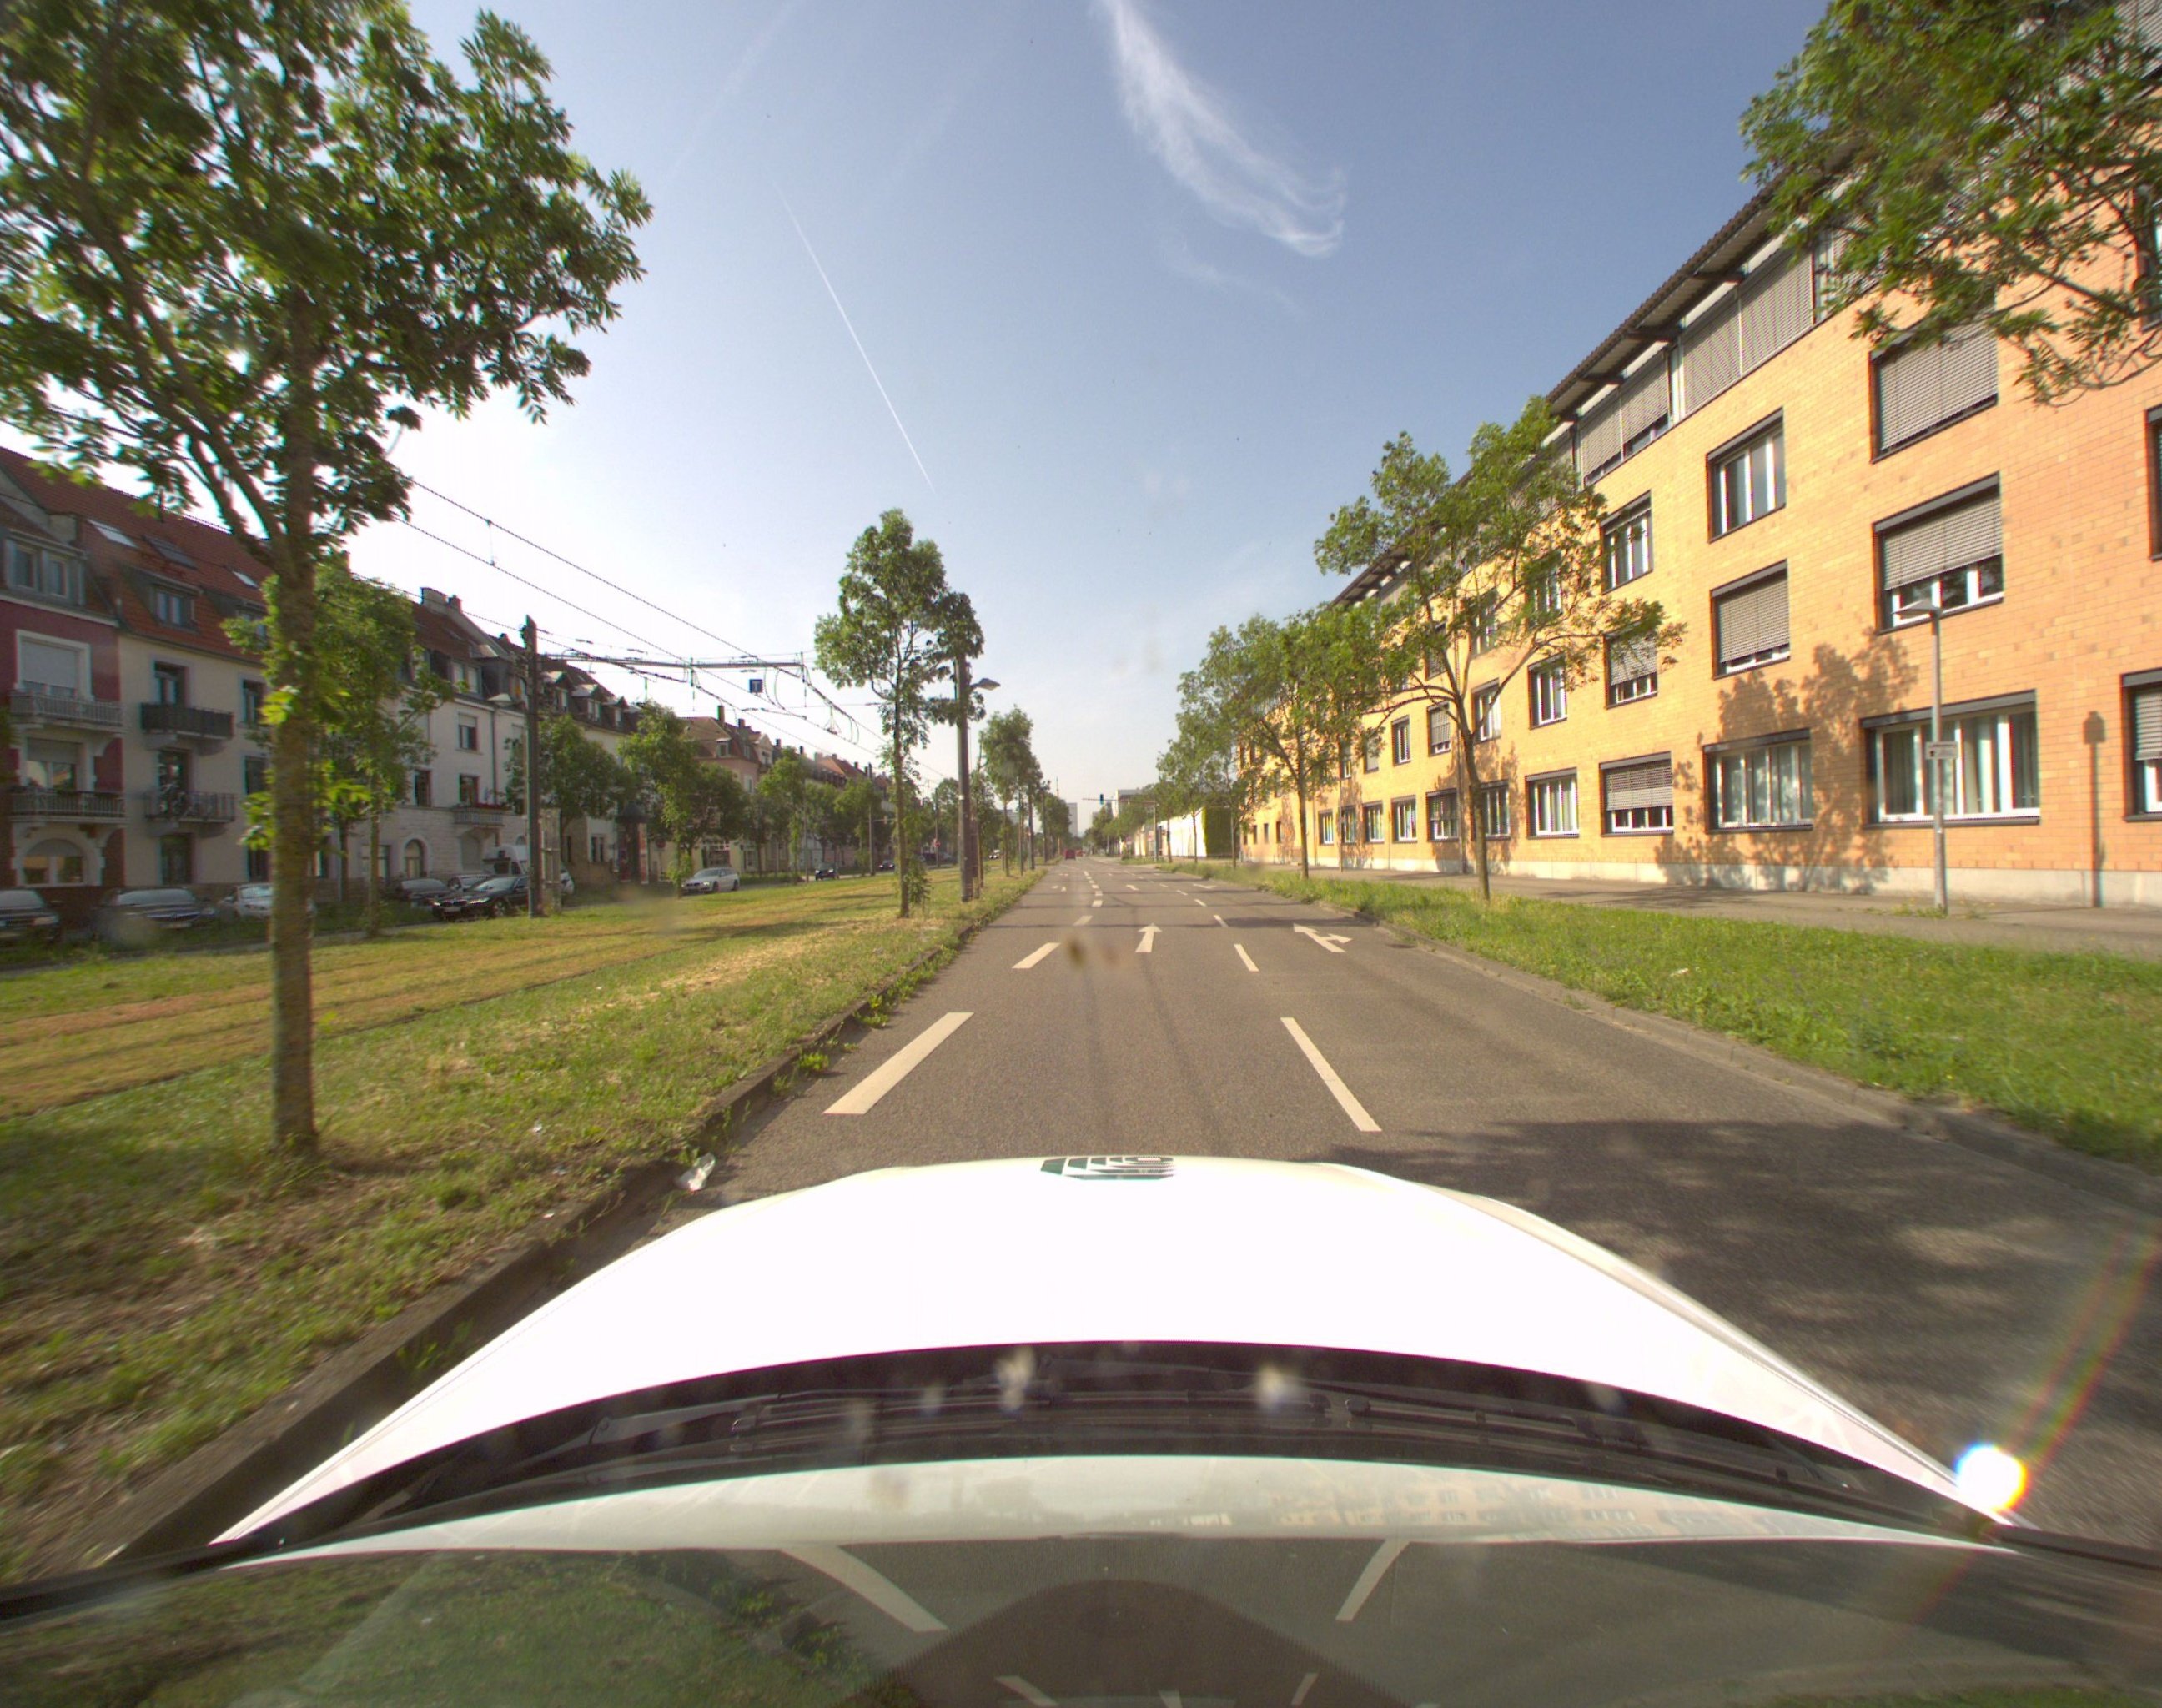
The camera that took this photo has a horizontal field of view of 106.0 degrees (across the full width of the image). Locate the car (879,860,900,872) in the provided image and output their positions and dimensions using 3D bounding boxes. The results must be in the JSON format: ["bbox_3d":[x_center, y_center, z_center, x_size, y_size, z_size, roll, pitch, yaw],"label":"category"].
[{"bbox_3d":[-24.356,1.544,103.523,1.807,1.433,3.923,0,-1,-1],"label":"car"}]

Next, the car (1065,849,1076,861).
[{"bbox_3d":[-1.778,0.147,141.262,1.742,2.014,3.215,0,-1,0],"label":"car"}]

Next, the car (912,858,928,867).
[{"bbox_3d":[-29.194,1.488,147.967,1.883,1.628,4.158,0,0,2],"label":"car"}]

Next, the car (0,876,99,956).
[{"bbox_3d":[-25.850,1.461,19.449,4.592,1.743,1.844,-2,-1,23],"label":"car"}]

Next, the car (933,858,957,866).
[{"bbox_3d":[-26.500,1.534,158.362,4.419,1.419,1.988,0,-1,36],"label":"car"}]

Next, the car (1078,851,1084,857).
[{"bbox_3d":[-0.048,-0.009,226.378,1.742,1.650,3.215,0,-1,0],"label":"car"}]

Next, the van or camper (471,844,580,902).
[{"bbox_3d":[-26.522,0.864,38.805,5.849,2.573,2.213,0,-1,33],"label":"van or camper"}]

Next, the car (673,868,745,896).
[{"bbox_3d":[-20.649,1.533,45.442,1.942,1.459,4.645,0,-1,-1],"label":"car"}]

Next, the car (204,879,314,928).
[{"bbox_3d":[-25.718,1.490,25.451,3.963,1.316,1.673,0,-1,33],"label":"car"}]

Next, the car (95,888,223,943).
[{"bbox_3d":[-24.672,1.595,21.771,3.639,1.241,1.673,0,-1,32],"label":"car"}]

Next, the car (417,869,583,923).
[{"bbox_3d":[-20.395,1.397,28.978,1.987,1.630,5.380,-2,-1,1],"label":"car"}]

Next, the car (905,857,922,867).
[{"bbox_3d":[-29.147,1.394,141.812,1.989,1.628,4.771,0,0,-2],"label":"car"}]

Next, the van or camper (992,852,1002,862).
[{"bbox_3d":[-22.729,0.780,221.208,2.197,2.531,6.026,0,-1,-1],"label":"van or camper"}]

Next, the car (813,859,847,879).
[{"bbox_3d":[-22.144,1.315,72.022,1.759,1.655,3.999,0,-1,0],"label":"car"}]

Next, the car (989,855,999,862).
[{"bbox_3d":[-22.854,1.205,214.254,1.957,1.694,4.300,0,-1,3],"label":"car"}]

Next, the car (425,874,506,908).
[{"bbox_3d":[-26.697,1.568,35.298,3.639,1.331,1.673,0,-1,33],"label":"car"}]

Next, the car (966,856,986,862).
[{"bbox_3d":[-28.395,1.301,219.637,5.258,1.738,2.013,0,-1,33],"label":"car"}]

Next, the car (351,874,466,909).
[{"bbox_3d":[-26.463,1.454,32.080,3.647,1.241,1.669,0,-1,16],"label":"car"}]

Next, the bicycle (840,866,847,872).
[{"bbox_3d":[-31.682,2.003,108.529,0.446,0.857,1.946,0,-1,-2],"label":"bicycle"}]
